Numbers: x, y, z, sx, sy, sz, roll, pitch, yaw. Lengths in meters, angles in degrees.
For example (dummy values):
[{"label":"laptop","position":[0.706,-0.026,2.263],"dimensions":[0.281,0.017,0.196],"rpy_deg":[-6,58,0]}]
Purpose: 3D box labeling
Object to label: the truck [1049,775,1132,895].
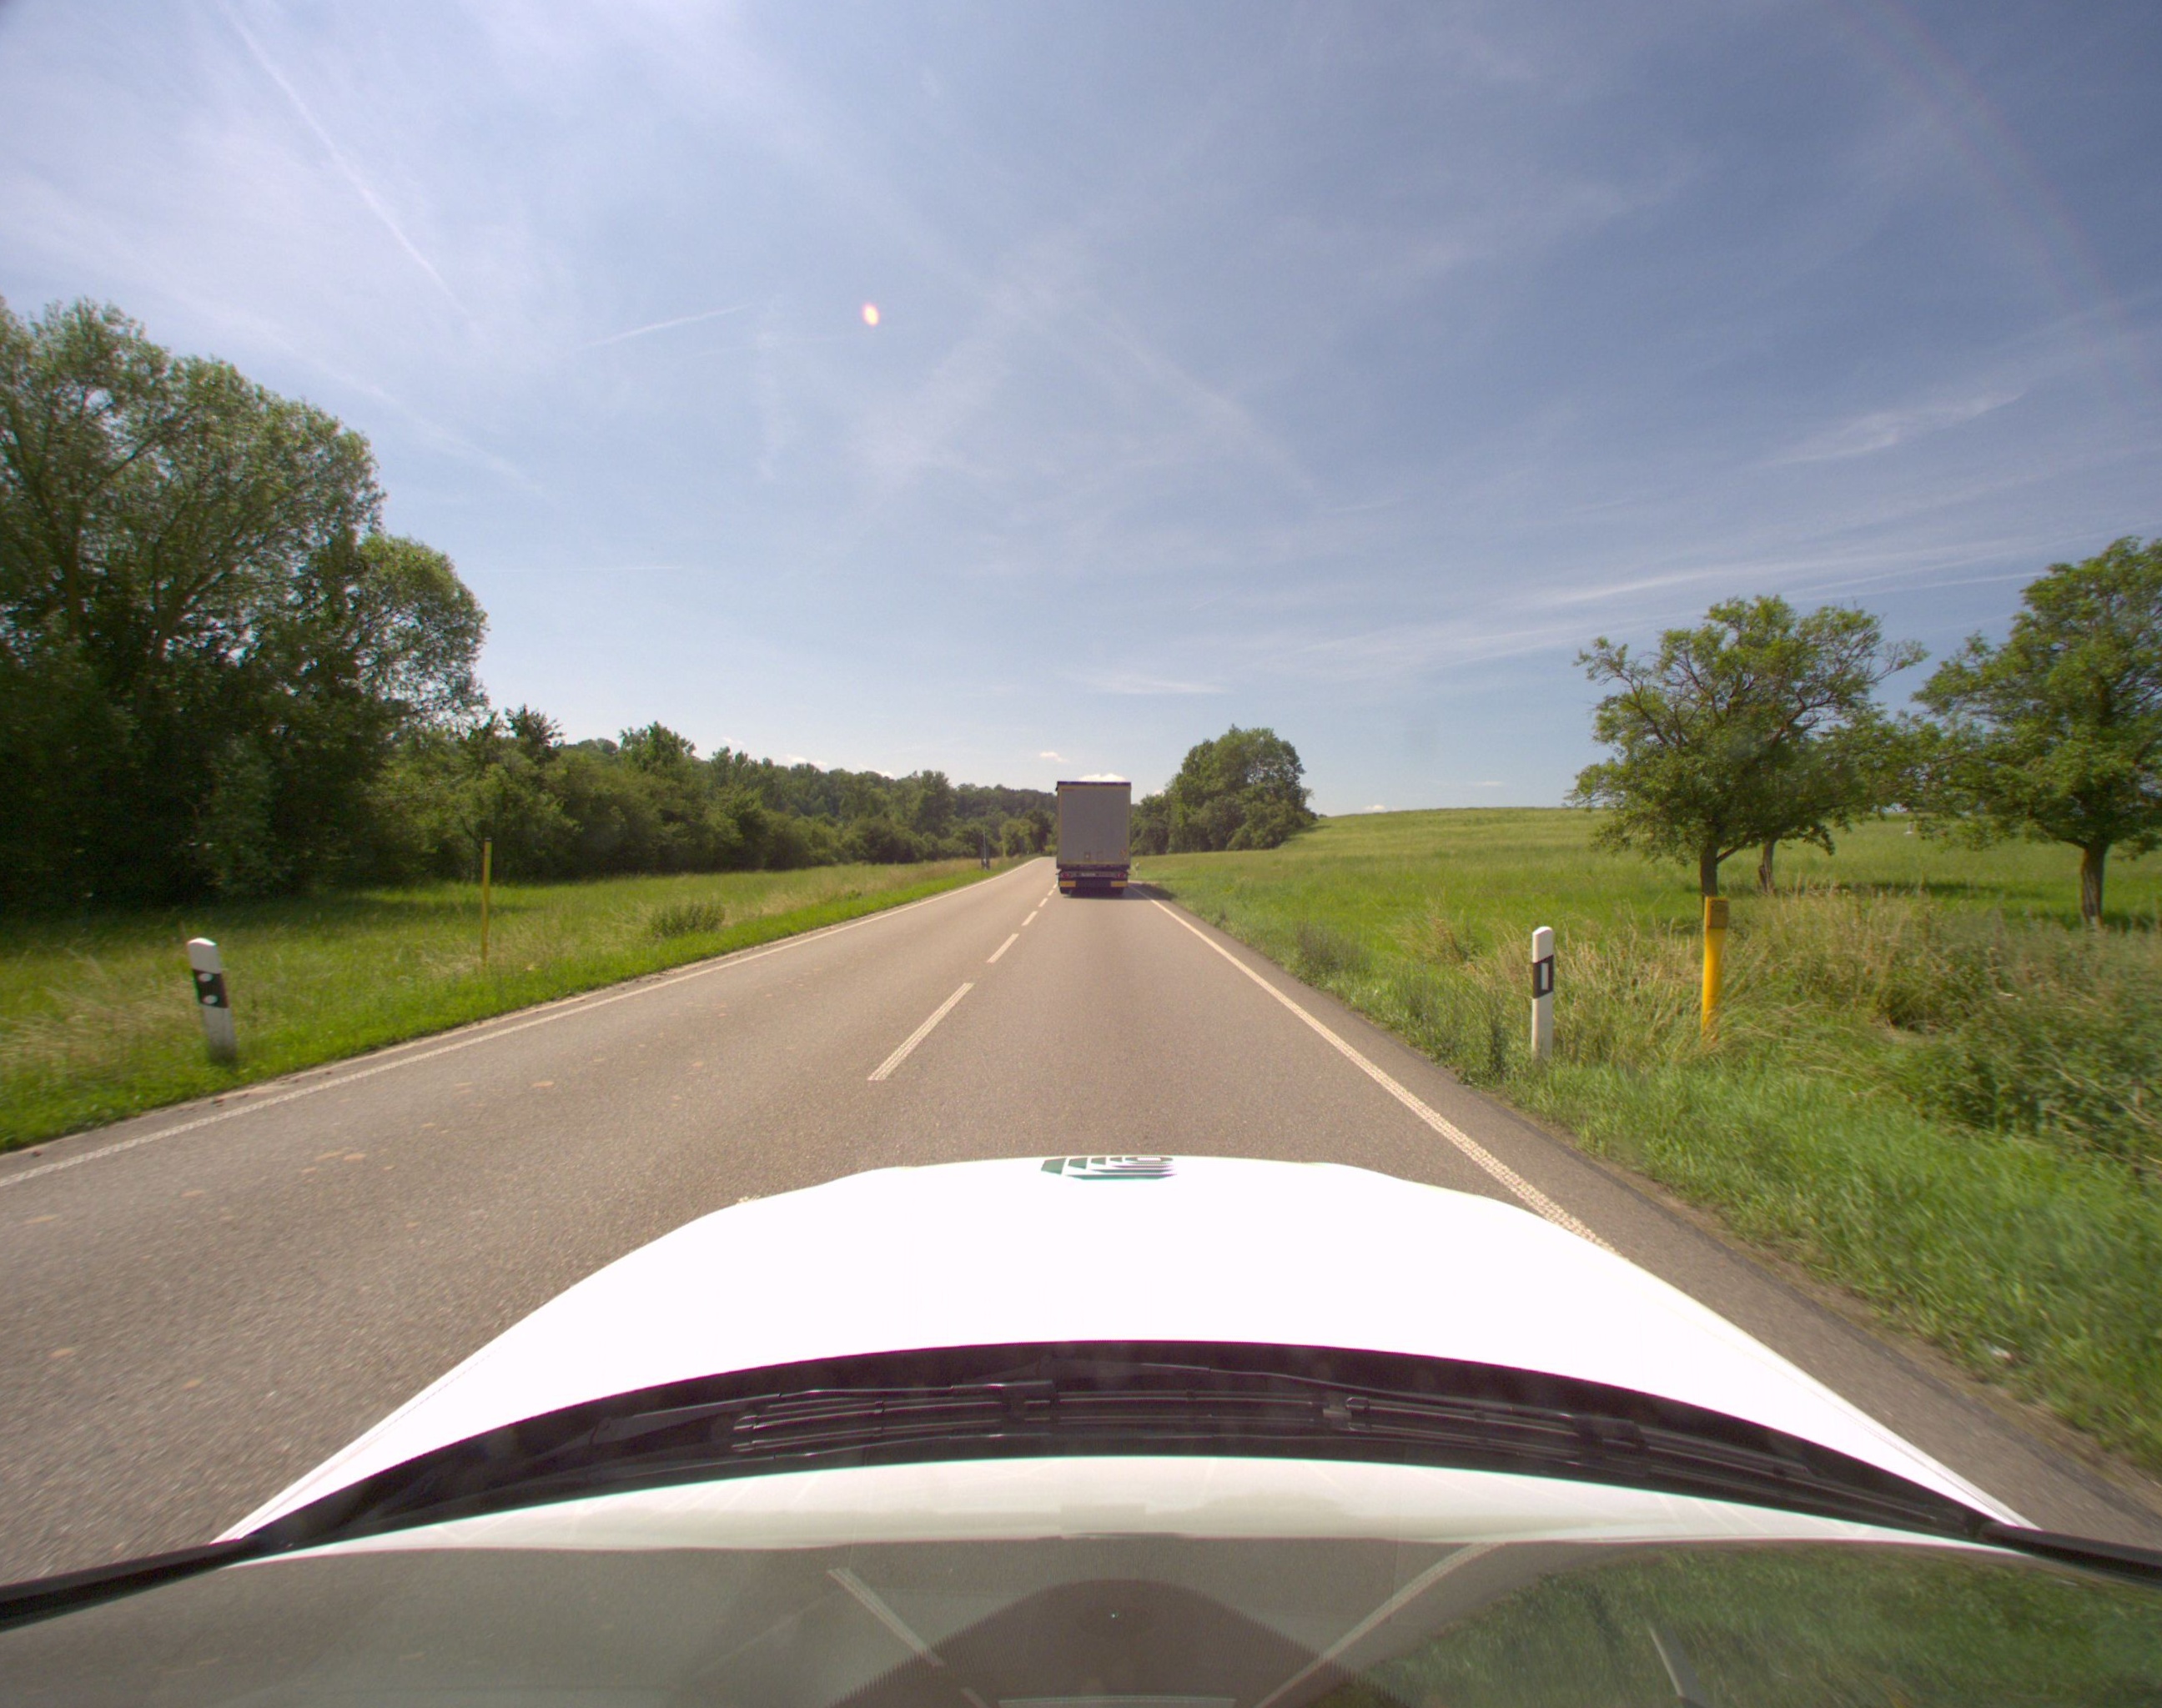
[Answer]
[{"label":"truck","position":[0.297,-0.622,35.262],"dimensions":[2.793,4.068,15.321],"rpy_deg":[0,0,0]}]
